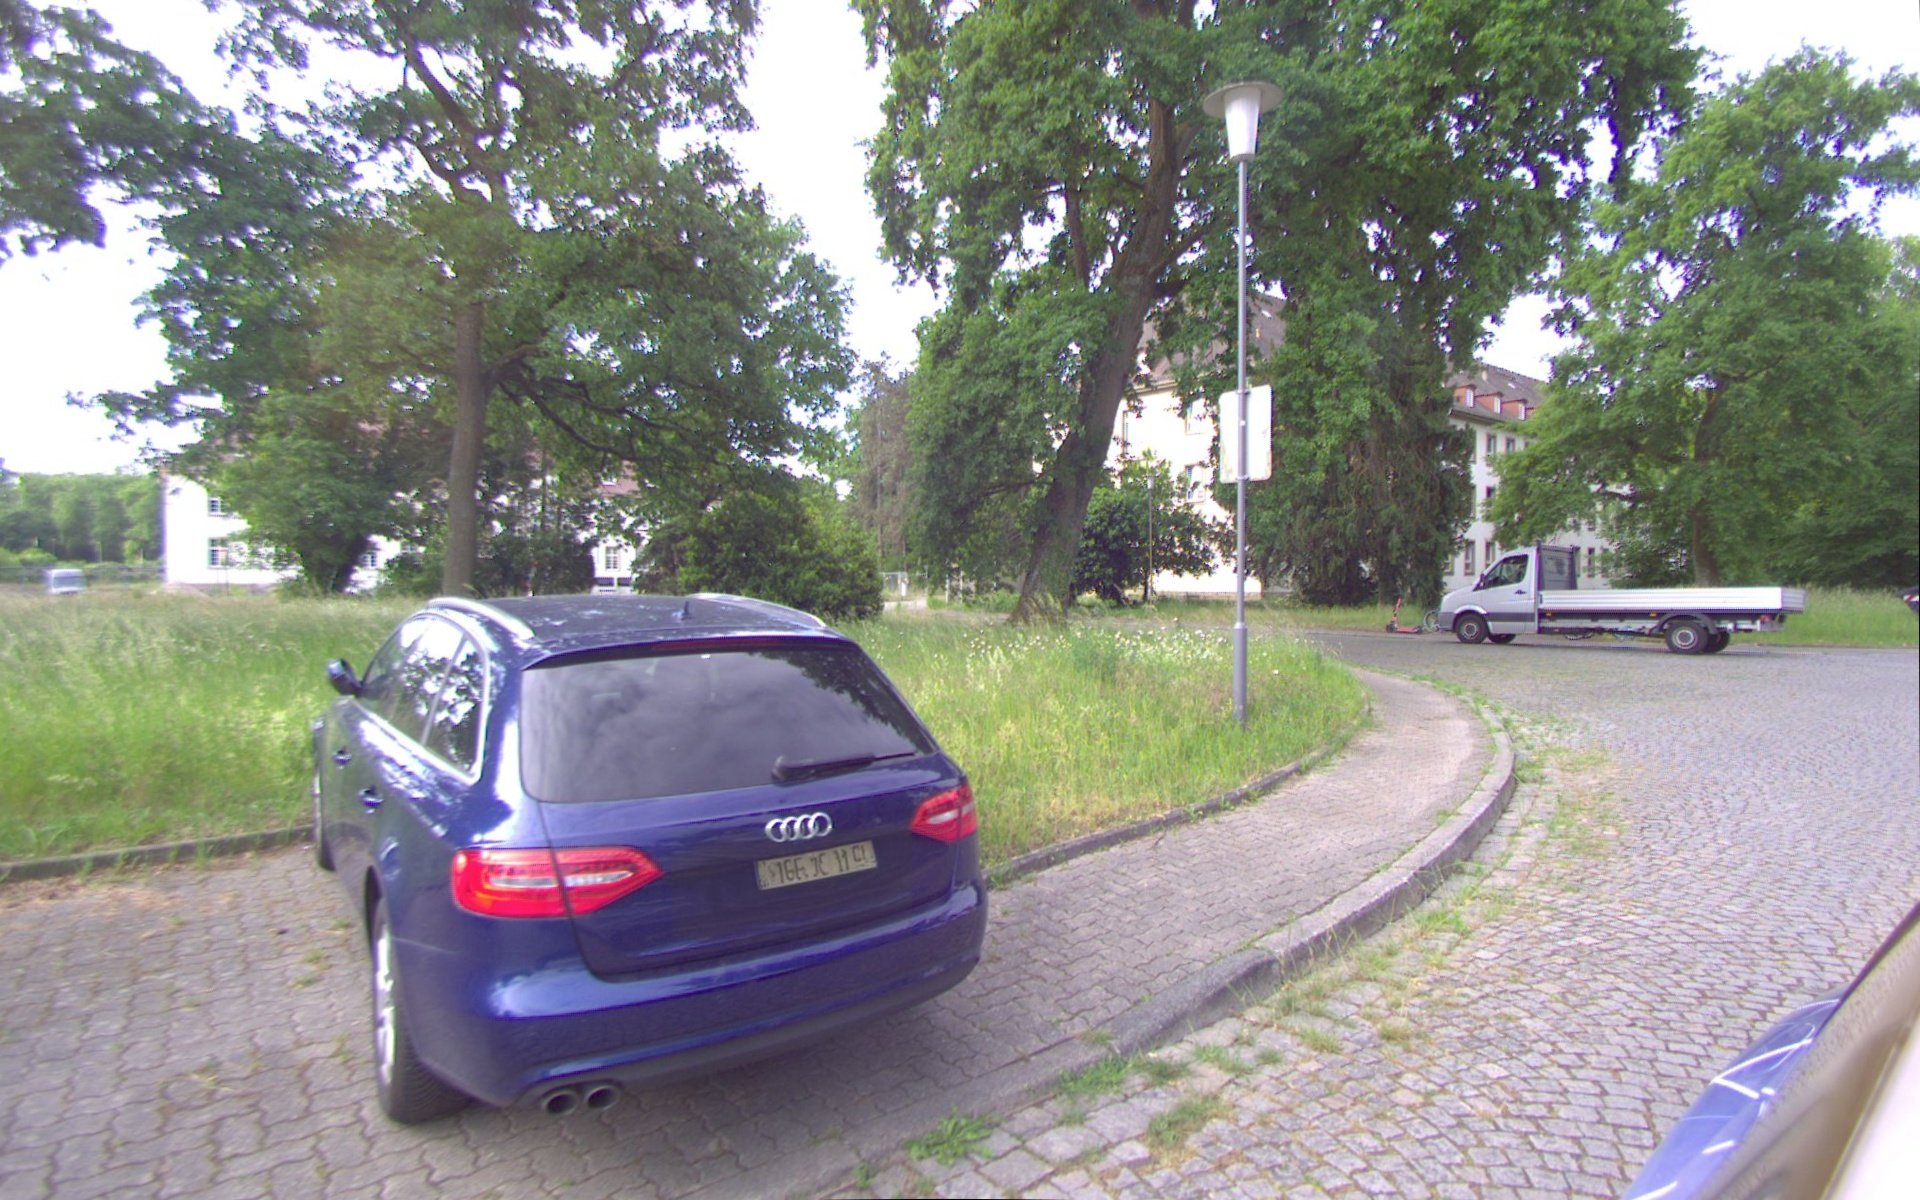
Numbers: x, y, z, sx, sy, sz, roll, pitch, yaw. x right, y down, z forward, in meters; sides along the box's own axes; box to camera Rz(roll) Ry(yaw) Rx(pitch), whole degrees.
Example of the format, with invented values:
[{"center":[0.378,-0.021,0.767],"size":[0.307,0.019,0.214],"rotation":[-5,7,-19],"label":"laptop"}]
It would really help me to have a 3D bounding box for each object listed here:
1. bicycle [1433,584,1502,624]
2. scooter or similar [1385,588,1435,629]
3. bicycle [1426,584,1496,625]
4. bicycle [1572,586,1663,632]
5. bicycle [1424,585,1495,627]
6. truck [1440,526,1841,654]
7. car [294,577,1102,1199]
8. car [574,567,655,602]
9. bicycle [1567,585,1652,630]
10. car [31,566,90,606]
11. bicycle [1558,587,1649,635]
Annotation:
[{"center":[15.308,0.122,30.542],"size":[1.844,1.185,0.483],"rotation":[0,0,31],"label":"bicycle"},{"center":[13.270,0.245,29.866],"size":[0.406,1.185,1.307],"rotation":[-1,0,-39],"label":"scooter or similar"},{"center":[14.845,0.137,30.001],"size":[1.841,1.185,0.484],"rotation":[0,0,26],"label":"bicycle"},{"center":[17.234,0.239,26.561],"size":[1.918,1.185,0.484],"rotation":[-1,0,25],"label":"bicycle"},{"center":[14.537,0.173,29.491],"size":[1.841,1.185,0.484],"rotation":[0,0,26],"label":"bicycle"},{"center":[14.567,-0.269,22.308],"size":[1.957,2.396,7.083],"rotation":[0,1,-38],"label":"truck"},{"center":[-1.606,0.664,4.352],"size":[1.891,1.457,4.371],"rotation":[-1,2,-36],"label":"car"},{"center":[-23.418,-1.079,68.641],"size":[4.851,2.333,1.922],"rotation":[-1,1,-39],"label":"car"},{"center":[17.975,0.211,28.055],"size":[1.920,1.185,0.484],"rotation":[-1,0,27],"label":"bicycle"},{"center":[-63.029,-0.932,70.864],"size":[5.653,2.674,2.245],"rotation":[-1,0,40],"label":"car"},{"center":[16.650,0.285,26.230],"size":[1.918,1.185,0.484],"rotation":[-1,0,25],"label":"bicycle"}]
